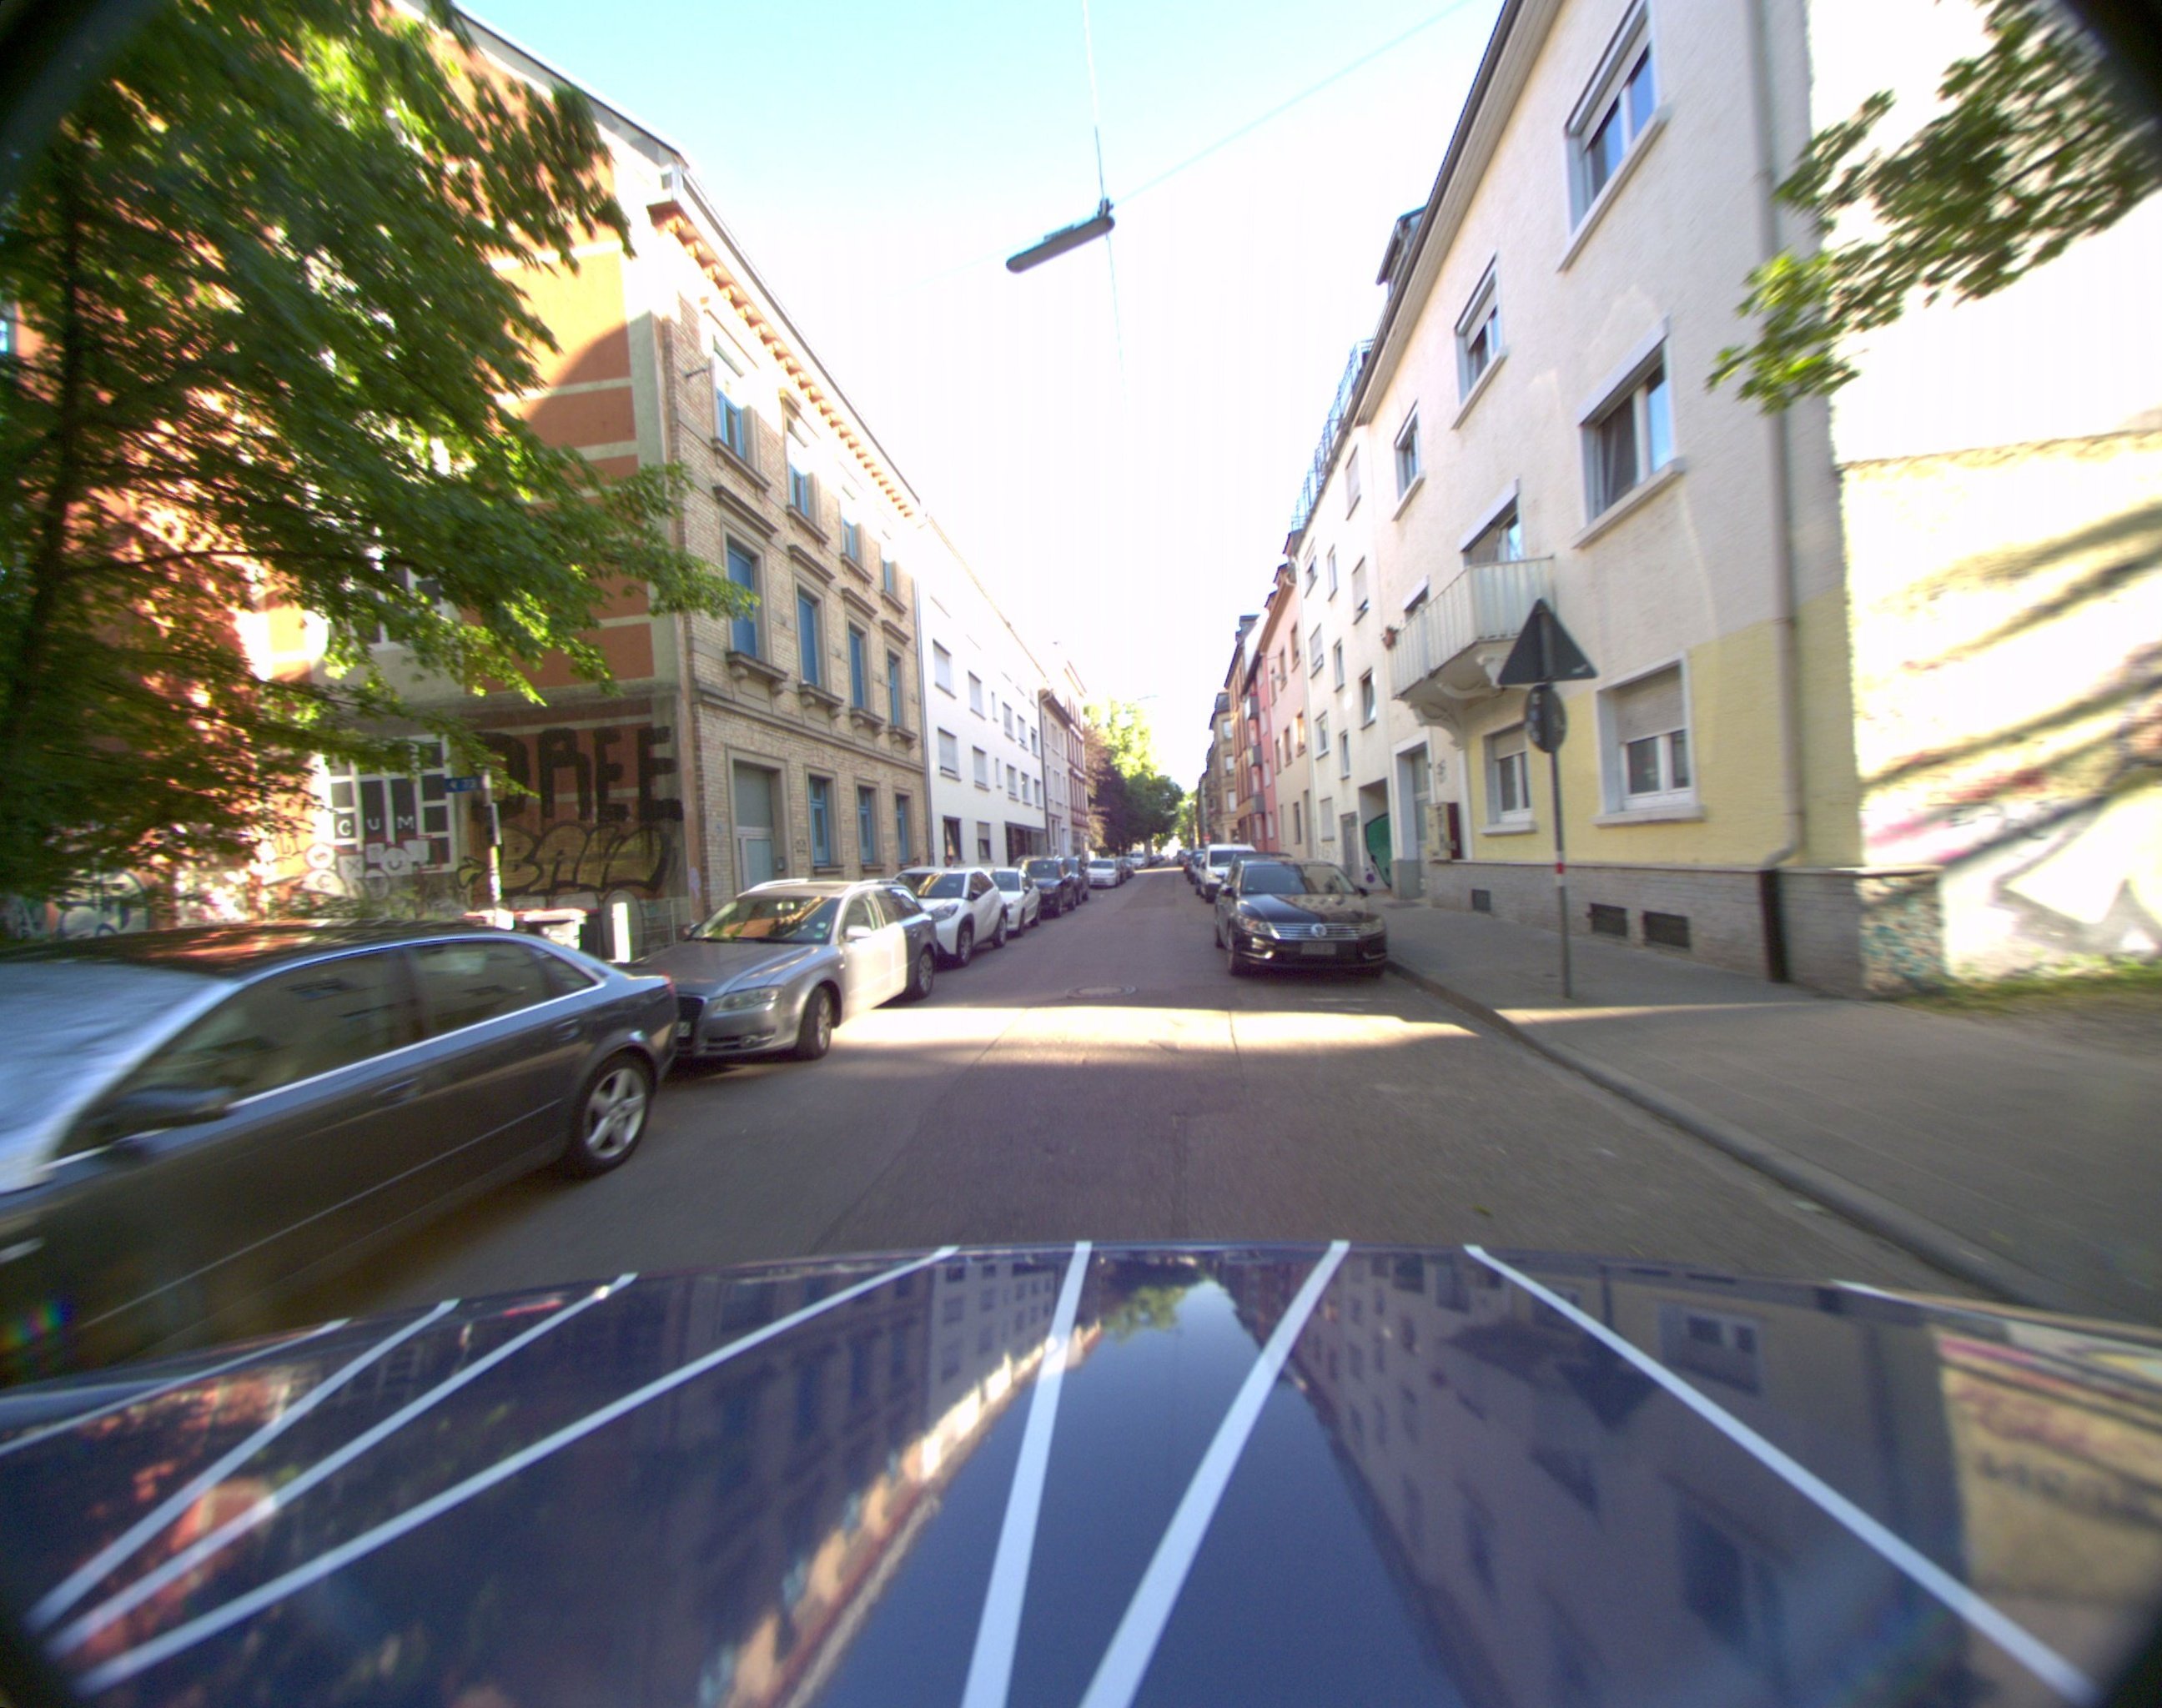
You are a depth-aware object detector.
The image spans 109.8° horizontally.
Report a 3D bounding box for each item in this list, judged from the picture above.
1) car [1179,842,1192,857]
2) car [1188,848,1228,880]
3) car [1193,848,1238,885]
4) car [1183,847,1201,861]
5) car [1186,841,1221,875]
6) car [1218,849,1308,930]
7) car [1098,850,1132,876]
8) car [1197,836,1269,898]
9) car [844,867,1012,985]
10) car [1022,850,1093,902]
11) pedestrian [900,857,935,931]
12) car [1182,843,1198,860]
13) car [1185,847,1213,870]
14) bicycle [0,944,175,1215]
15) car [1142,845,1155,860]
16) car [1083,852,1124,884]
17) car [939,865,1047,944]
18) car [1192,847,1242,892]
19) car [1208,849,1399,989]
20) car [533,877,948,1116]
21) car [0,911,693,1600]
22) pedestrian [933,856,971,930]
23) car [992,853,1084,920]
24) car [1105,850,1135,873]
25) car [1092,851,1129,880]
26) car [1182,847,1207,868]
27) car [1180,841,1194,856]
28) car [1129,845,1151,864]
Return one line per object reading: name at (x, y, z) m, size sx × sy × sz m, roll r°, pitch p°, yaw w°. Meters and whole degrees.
car at (14.726, -0.611, 107.191) m, size 1.767 × 2.075 × 4.265 m, roll 0°, pitch 1°, yaw 7°
car at (6.212, 0.470, 37.432) m, size 1.767 × 1.464 × 3.817 m, roll 0°, pitch 1°, yaw 7°
car at (5.729, 0.493, 32.762) m, size 1.674 × 1.450 × 4.086 m, roll 0°, pitch 1°, yaw 6°
car at (11.823, -0.007, 81.192) m, size 1.767 × 1.463 × 3.934 m, roll 0°, pitch 1°, yaw 7°
car at (6.834, 0.168, 42.744) m, size 1.767 × 1.814 × 4.105 m, roll 0°, pitch 1°, yaw 7°
car at (3.632, 0.628, 15.596) m, size 1.596 × 1.442 × 3.488 m, roll 0°, pitch 1°, yaw 11°
car at (2.213, 0.566, 48.425) m, size 1.767 × 1.524 × 4.105 m, roll -1°, pitch 1°, yaw 7°
car at (4.592, 0.325, 23.466) m, size 1.753 × 1.731 × 4.316 m, roll 0°, pitch 1°, yaw 6°
car at (-2.378, 1.074, 12.784) m, size 1.596 × 1.576 × 3.765 m, roll -2°, pitch 0°, yaw 7°
car at (-0.728, 0.721, 26.987) m, size 1.885 × 1.657 × 4.330 m, roll 0°, pitch 1°, yaw 7°
pedestrian at (-3.887, 0.939, 18.090) m, size 0.598 × 1.699 × 0.707 m, roll 0°, pitch 1°, yaw 7°
car at (12.367, -0.265, 86.542) m, size 1.767 × 1.846 × 3.995 m, roll 0°, pitch 1°, yaw 7°
car at (8.039, 0.284, 52.152) m, size 1.767 × 1.525 × 4.105 m, roll 0°, pitch 1°, yaw 7°
bicycle at (-6.243, 1.209, 3.473) m, size 1.293 × 1.294 × 2.328 m, roll -1°, pitch 1°, yaw 10°
car at (9.406, -0.270, 105.717) m, size 1.767 × 2.006 × 4.265 m, roll 0°, pitch 1°, yaw 7°
car at (1.210, 0.681, 39.624) m, size 1.767 × 1.508 × 4.105 m, roll 0°, pitch 1°, yaw 7°
car at (-1.857, 1.053, 17.192) m, size 1.597 × 1.442 × 4.004 m, roll -2°, pitch 0°, yaw 5°
car at (5.146, 0.512, 28.379) m, size 1.673 × 1.519 × 4.088 m, roll 0°, pitch 1°, yaw 12°
car at (2.724, 0.680, 10.273) m, size 1.782 × 1.435 × 4.394 m, roll 0°, pitch 1°, yaw 7°
car at (-2.832, 1.099, 7.578) m, size 1.662 × 1.485 × 4.355 m, roll -3°, pitch 0°, yaw 7°
car at (-3.537, 1.151, 2.675) m, size 1.724 × 1.485 × 4.415 m, roll -2°, pitch 0°, yaw 5°
pedestrian at (-3.074, 0.912, 18.108) m, size 0.711 × 1.699 × 0.752 m, roll 0°, pitch 1°, yaw 7°
car at (-1.107, 0.857, 21.831) m, size 1.769 × 1.657 × 4.330 m, roll -2°, pitch 0°, yaw 8°
car at (2.790, 0.508, 53.545) m, size 1.767 × 1.525 × 4.105 m, roll 0°, pitch 1°, yaw 7°
car at (1.730, 0.643, 43.984) m, size 1.767 × 1.524 × 4.105 m, roll -1°, pitch 1°, yaw 7°
car at (8.618, 0.235, 57.866) m, size 1.767 × 1.525 × 4.105 m, roll 0°, pitch 1°, yaw 7°
car at (13.961, -0.717, 100.523) m, size 1.767 × 1.915 × 4.265 m, roll 0°, pitch 1°, yaw 7°
car at (6.254, 0.002, 80.647) m, size 1.865 × 1.970 × 4.483 m, roll 0°, pitch 1°, yaw 10°
